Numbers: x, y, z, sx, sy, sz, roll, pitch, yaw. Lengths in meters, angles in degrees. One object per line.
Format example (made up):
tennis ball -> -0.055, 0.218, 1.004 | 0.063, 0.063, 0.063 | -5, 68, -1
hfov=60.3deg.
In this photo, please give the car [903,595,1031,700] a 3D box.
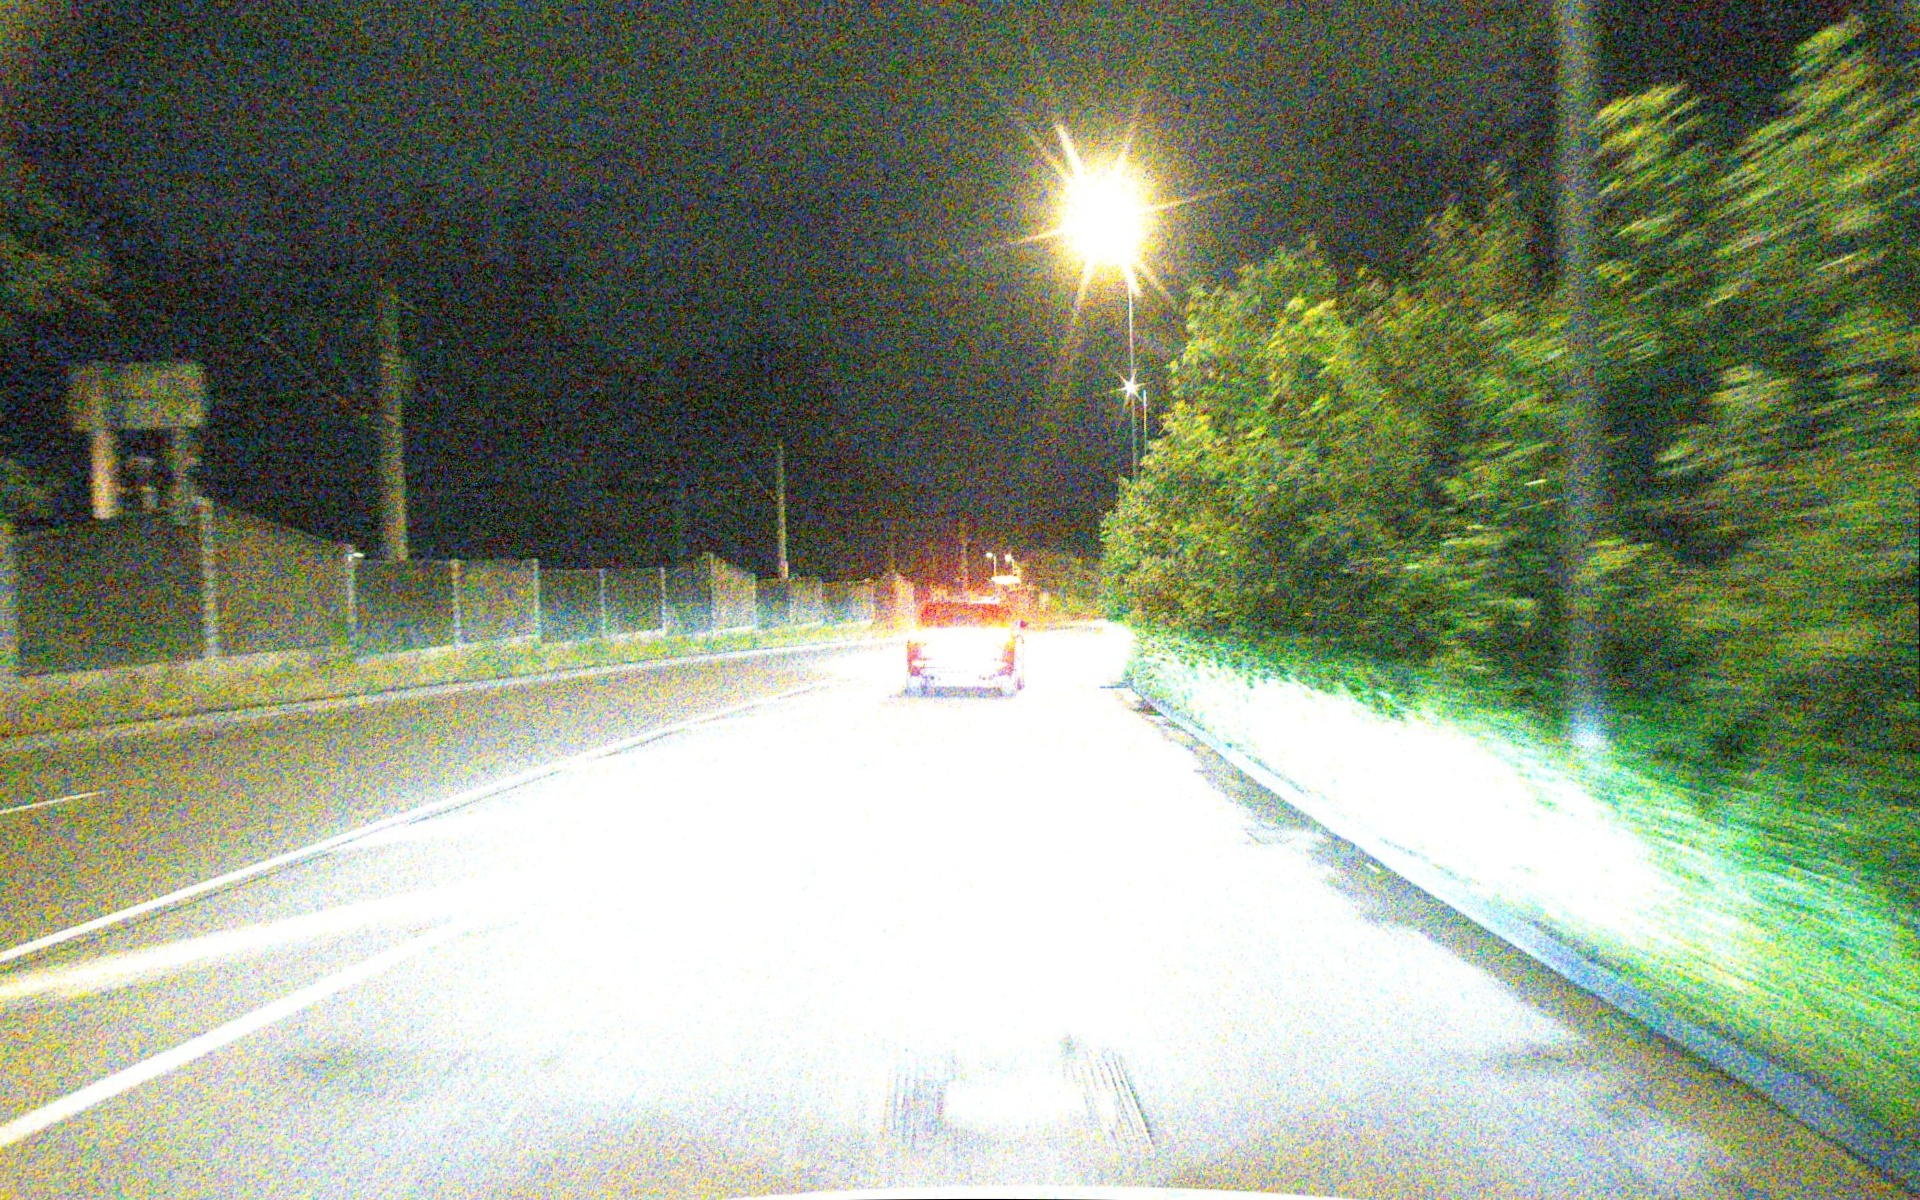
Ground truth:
car -> 0.190, 0.736, 27.631 | 1.776, 1.601, 3.946 | 1, 0, 5
